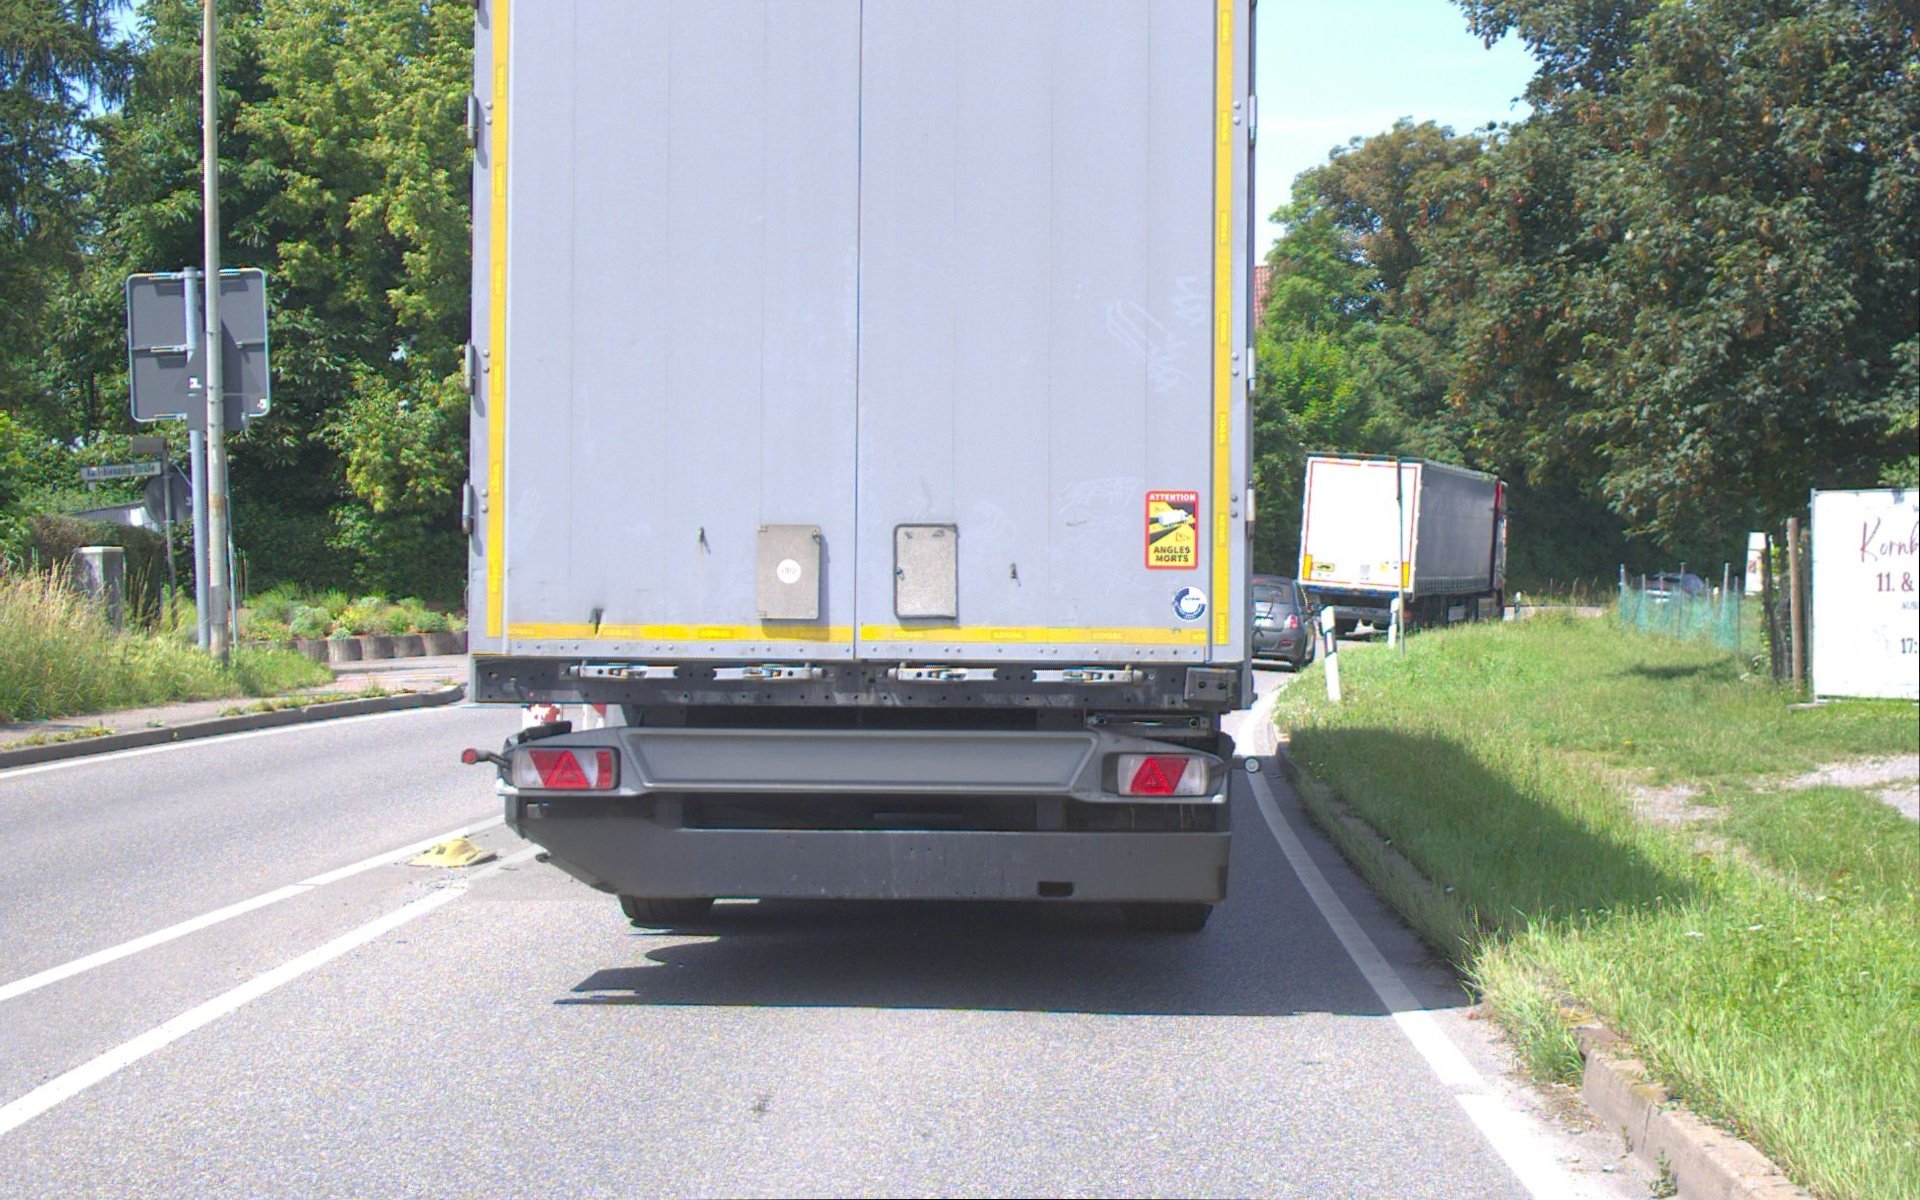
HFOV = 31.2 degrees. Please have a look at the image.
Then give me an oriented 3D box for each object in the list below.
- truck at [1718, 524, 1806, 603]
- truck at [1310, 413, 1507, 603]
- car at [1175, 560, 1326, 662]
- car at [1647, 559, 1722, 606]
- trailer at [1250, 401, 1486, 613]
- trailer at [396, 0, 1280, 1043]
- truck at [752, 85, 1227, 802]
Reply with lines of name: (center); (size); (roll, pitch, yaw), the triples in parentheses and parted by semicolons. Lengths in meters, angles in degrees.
truck: (29.673, -1.388, 127.072); (2.423, 2.828, 5.406); (0, 1, 21)
truck: (11.378, -2.258, 86.563); (3.940, 4.559, 7.147); (0, 1, 16)
car: (4.732, 0.146, 55.493); (1.994, 1.525, 3.998); (0, 1, 11)
car: (24.343, -0.602, 115.404); (1.843, 1.481, 3.996); (0, 1, 21)
trailer: (9.671, -2.068, 79.874); (3.893, 4.505, 12.705); (0, 1, 14)
trailer: (-0.033, -0.861, 16.867); (2.787, 4.191, 12.110); (0, 1, 3)
truck: (0.365, -0.983, 23.062); (2.746, 4.151, 6.142); (0, 1, 4)
